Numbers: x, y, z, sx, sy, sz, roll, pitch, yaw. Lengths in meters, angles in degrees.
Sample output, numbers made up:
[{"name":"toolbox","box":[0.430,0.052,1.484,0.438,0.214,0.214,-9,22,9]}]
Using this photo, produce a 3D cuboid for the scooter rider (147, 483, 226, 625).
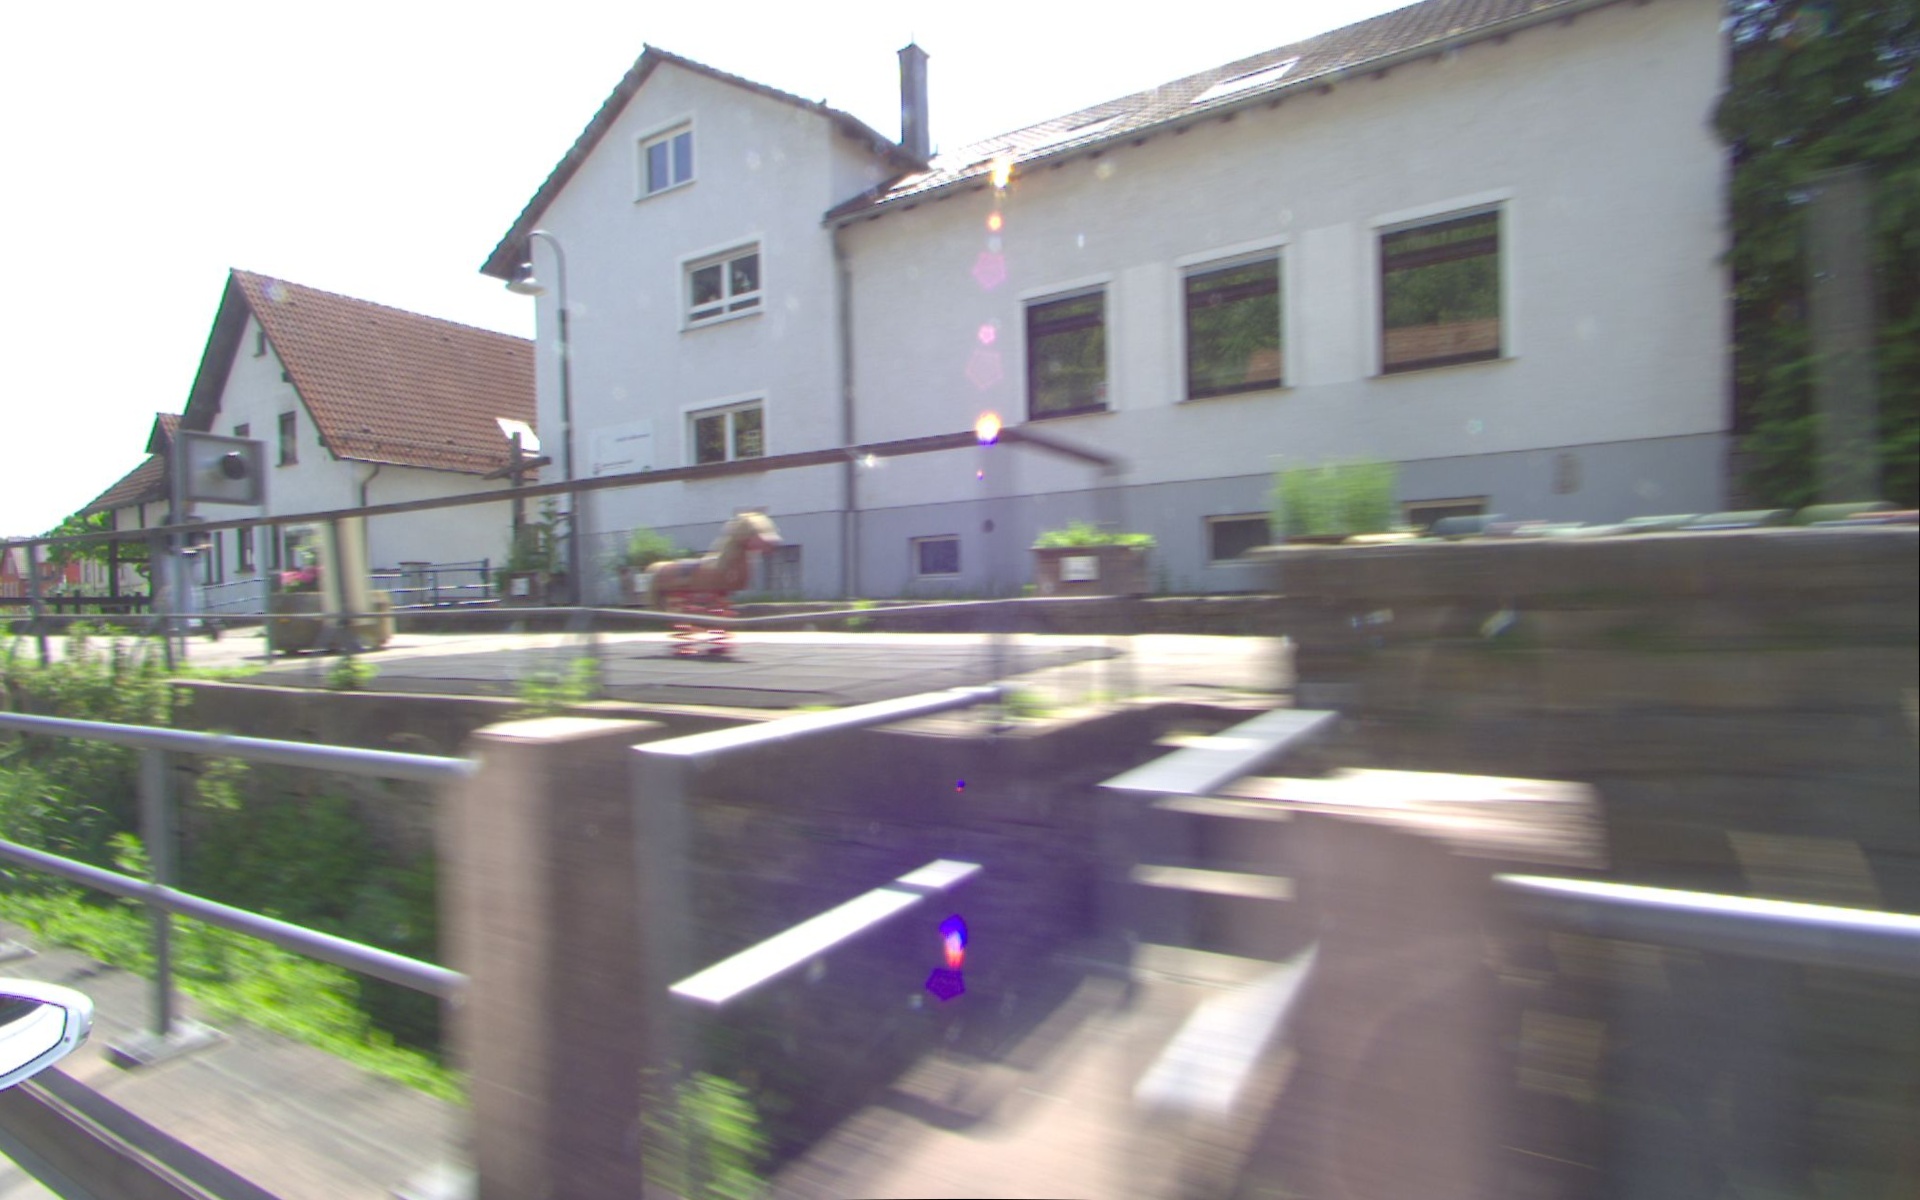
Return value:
[{"name":"scooter rider","box":[-9.859,-0.560,12.764,0.546,1.754,0.640,-1,0,32]}]

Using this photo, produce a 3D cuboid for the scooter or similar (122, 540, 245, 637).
[{"name":"scooter or similar","box":[-9.916,-0.125,12.767,1.786,1.157,0.640,-1,1,33]}]
